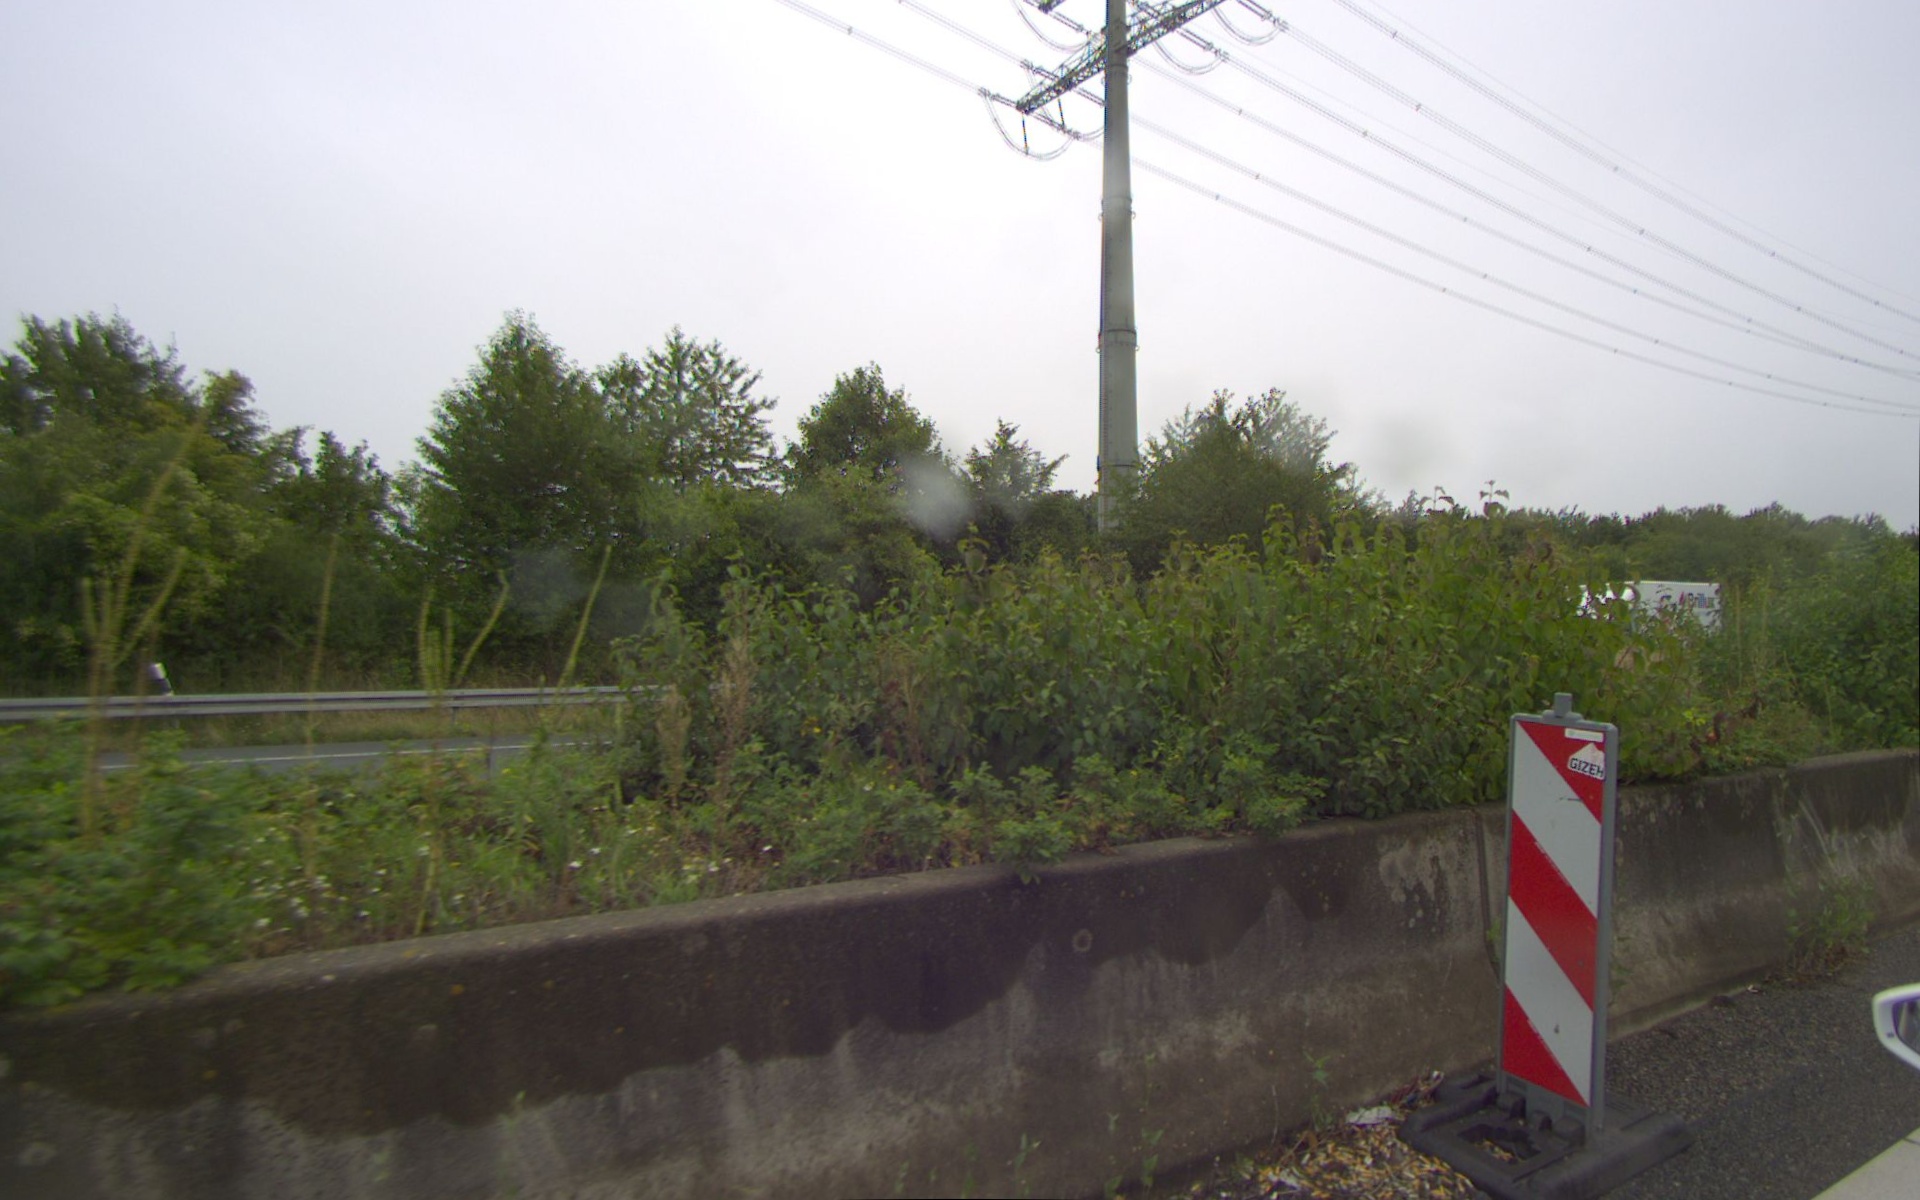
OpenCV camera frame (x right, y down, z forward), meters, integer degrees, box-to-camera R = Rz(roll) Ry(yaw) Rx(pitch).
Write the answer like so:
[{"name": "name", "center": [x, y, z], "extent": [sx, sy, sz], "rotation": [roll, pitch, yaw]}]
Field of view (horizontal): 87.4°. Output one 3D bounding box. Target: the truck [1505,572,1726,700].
[{"name": "truck", "center": [18.633, 1.075, 28.438], "extent": [6.969, 3.269, 2.251], "rotation": [2, -4, -30]}]
